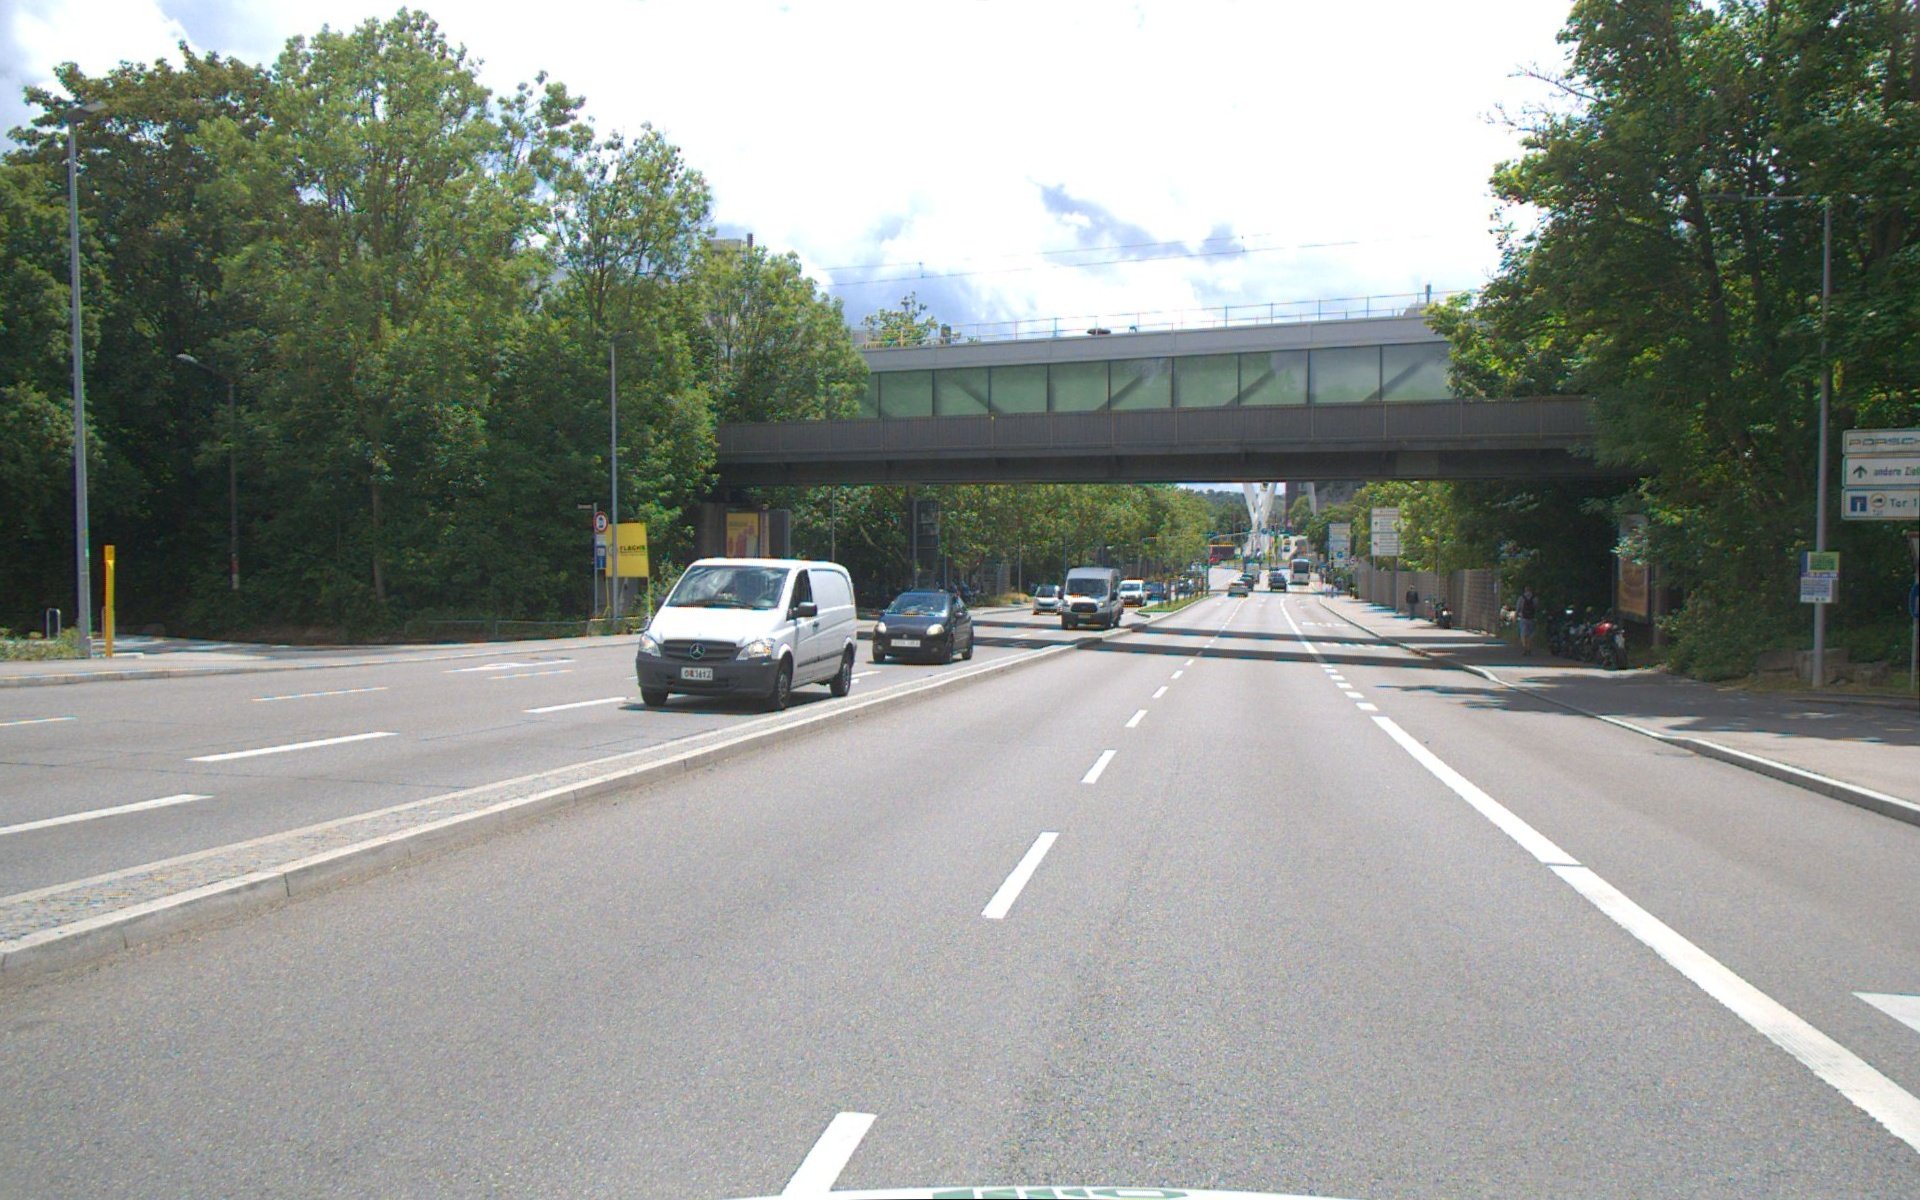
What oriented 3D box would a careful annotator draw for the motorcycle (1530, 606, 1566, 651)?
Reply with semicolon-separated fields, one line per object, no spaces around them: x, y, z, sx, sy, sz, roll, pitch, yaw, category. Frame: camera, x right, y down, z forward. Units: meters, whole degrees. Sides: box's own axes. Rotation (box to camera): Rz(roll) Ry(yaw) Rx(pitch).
16.229;0.781;45.685;0.535;1.219;1.905;0;0;7;motorcycle

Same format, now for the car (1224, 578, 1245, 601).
26.045;-1.021;156.776;1.888;1.802;4.006;1;5;11;car

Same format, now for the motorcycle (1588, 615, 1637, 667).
14.864;0.921;37.716;0.535;1.130;2.019;0;0;7;motorcycle

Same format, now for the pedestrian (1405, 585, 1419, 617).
24.495;0.063;89.591;0.607;1.646;0.748;1;4;9;pedestrian

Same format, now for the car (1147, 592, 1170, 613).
16.773;0.186;139.423;1.664;1.728;3.928;1;0;11;car

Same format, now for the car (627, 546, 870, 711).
-2.712;0.315;22.430;1.837;1.958;4.755;1;1;11;car

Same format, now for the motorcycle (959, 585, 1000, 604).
1.246;-0.350;105.279;2.525;1.126;0.794;1;0;23;motorcycle

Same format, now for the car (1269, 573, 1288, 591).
36.082;-2.037;187.559;1.951;1.892;4.004;1;0;10;car

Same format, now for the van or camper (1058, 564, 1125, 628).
5.422;-0.153;67.294;1.965;2.443;6.404;1;0;11;van or camper

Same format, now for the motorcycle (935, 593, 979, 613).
-0.171;0.168;98.830;2.525;1.126;0.794;1;0;23;motorcycle

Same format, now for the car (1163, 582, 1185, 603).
21.723;-0.771;168.077;1.951;2.049;4.004;1;1;10;car

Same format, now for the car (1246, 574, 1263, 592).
33.488;-1.947;188.197;1.818;1.734;4.007;0;6;9;car

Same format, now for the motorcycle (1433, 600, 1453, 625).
21.722;0.553;74.368;0.551;1.047;2.632;0;1;10;motorcycle

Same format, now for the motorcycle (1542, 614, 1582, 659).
15.597;0.922;42.881;0.535;1.130;2.019;0;0;7;motorcycle

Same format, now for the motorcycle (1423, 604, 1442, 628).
22.157;0.757;77.595;0.551;1.047;2.632;0;1;10;motorcycle

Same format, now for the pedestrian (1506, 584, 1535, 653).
15.641;0.517;46.189;0.609;1.891;0.873;1;-1;9;pedestrian

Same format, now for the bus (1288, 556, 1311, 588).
46.899;-3.917;228.589;2.737;3.816;9.482;1;5;10;bus

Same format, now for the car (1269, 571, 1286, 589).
40.370;-2.565;210.317;1.951;2.048;4.006;1;5;12;car

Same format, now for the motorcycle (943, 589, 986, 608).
0.288;-0.114;102.337;2.525;1.126;0.794;1;0;23;motorcycle

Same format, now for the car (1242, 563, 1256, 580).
39.736;-3.922;227.258;1.834;2.048;3.698;1;5;10;car

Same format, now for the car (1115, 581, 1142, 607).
11.521;-0.412;112.867;1.664;1.728;3.927;1;0;7;car

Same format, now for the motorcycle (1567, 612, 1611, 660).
15.272;0.853;40.212;0.535;1.130;2.019;0;0;7;motorcycle

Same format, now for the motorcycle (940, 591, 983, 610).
0.081;0.027;100.581;2.525;1.126;0.794;1;0;23;motorcycle

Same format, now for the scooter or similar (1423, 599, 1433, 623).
23.870;0.569;84.402;0.360;1.197;1.134;1;0;10;scooter or similar

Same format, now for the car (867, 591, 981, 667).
-0.719;0.570;35.566;1.602;1.496;3.779;1;1;12;car

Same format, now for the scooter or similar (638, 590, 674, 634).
-8.657;0.326;47.074;0.598;1.232;1.262;1;0;10;scooter or similar

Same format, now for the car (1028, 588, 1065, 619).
4.738;0.168;89.902;1.664;1.578;3.927;1;0;7;car

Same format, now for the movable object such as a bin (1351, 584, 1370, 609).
35.531;-0.273;146.728;1.629;2.170;1.279;1;0;16;movable object such as a bin
